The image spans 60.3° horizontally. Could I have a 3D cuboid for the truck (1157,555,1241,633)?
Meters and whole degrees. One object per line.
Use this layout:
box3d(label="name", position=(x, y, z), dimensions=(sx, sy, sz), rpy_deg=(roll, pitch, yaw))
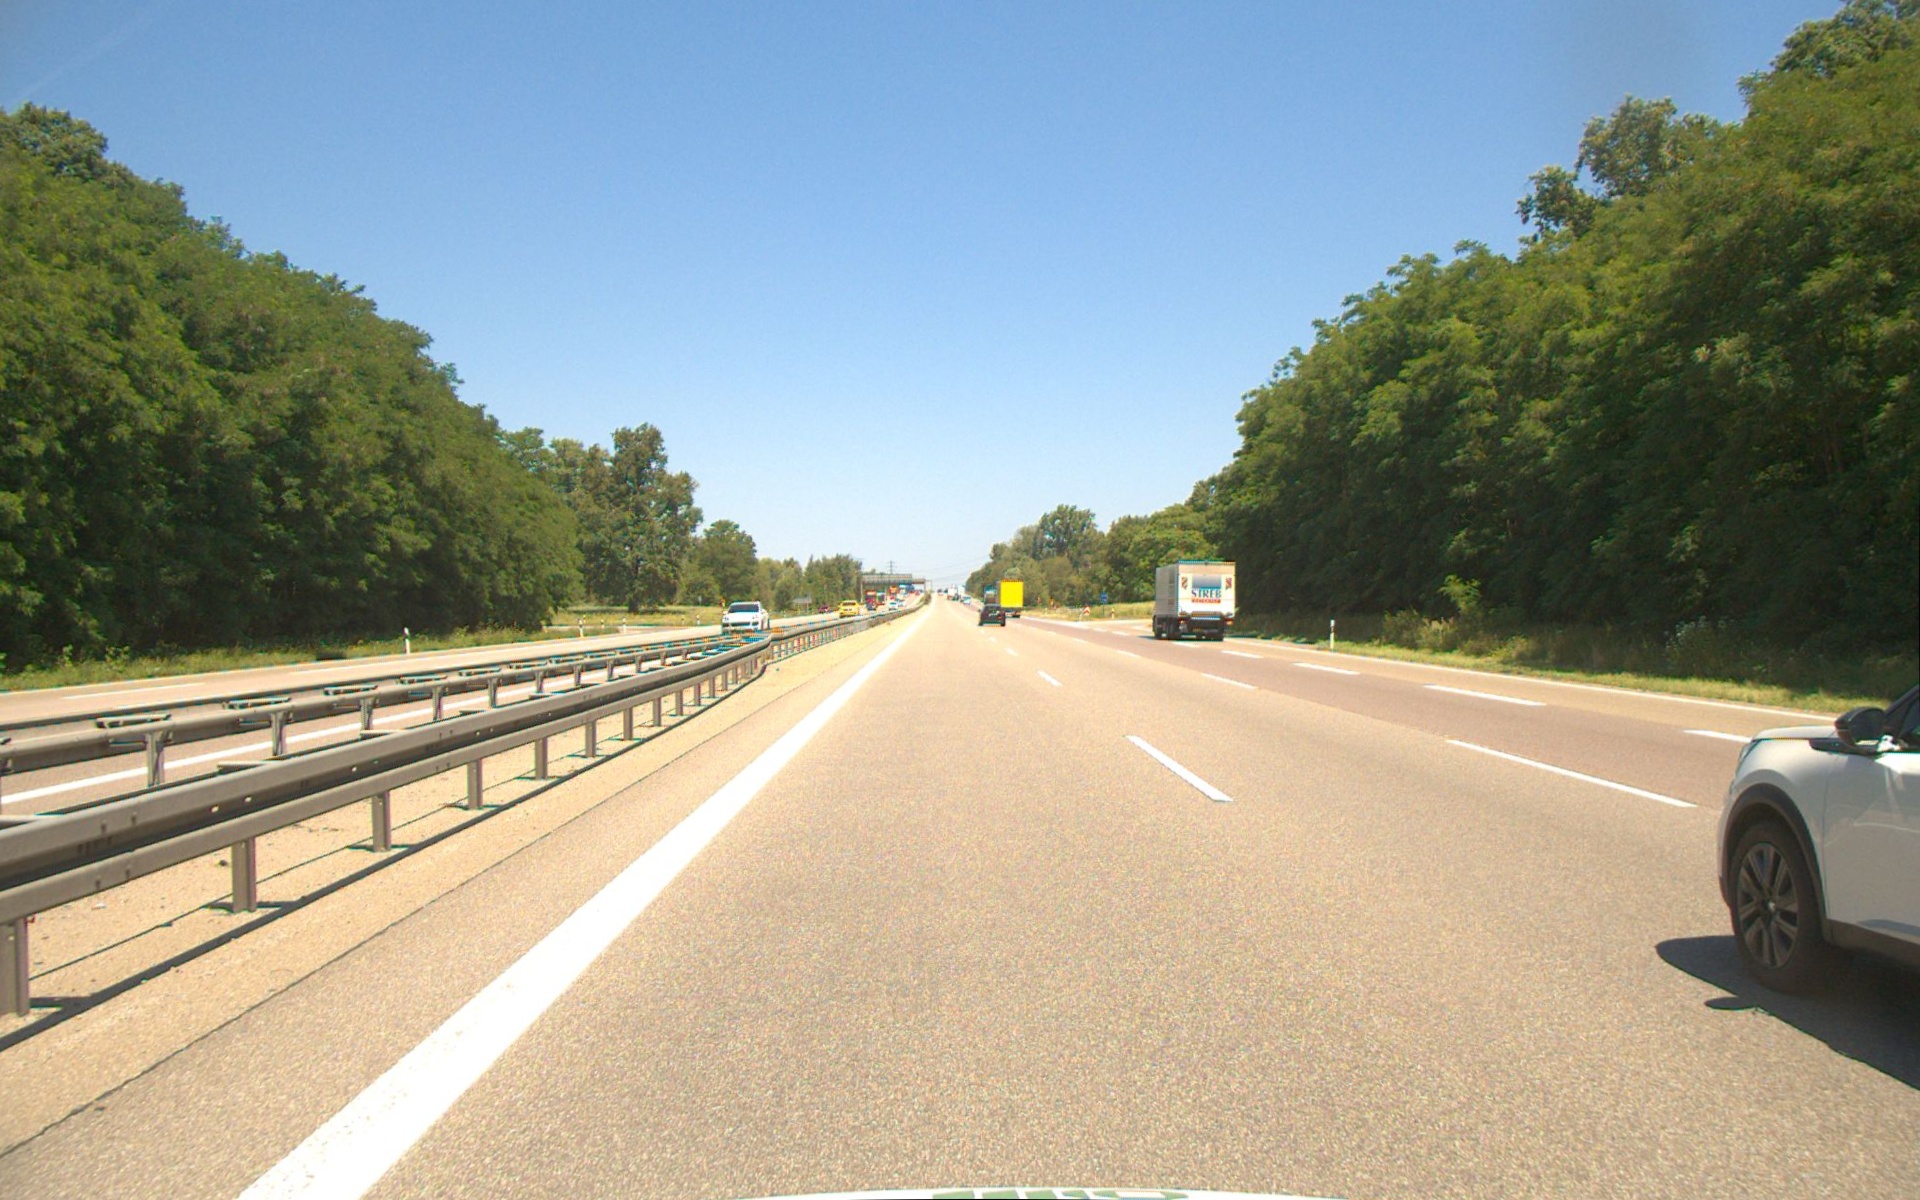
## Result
box3d(label="truck", position=(11.004, -0.238, 77.232), dimensions=(2.965, 3.377, 10.775), rpy_deg=(1, 0, 4))

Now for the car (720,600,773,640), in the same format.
box3d(label="car", position=(-10.336, 0.939, 80.495), dimensions=(1.953, 1.736, 5.264), rpy_deg=(1, 1, -1))

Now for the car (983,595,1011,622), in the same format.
box3d(label="car", position=(2.512, 0.575, 113.298), dimensions=(1.790, 1.736, 3.999), rpy_deg=(1, 0, -1))

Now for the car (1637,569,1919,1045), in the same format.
box3d(label="car", position=(4.200, 0.714, 5.595), dimensions=(1.790, 1.636, 4.807), rpy_deg=(0, 0, -1))

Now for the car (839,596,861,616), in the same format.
box3d(label="car", position=(-11.328, 0.581, 169.966), dimensions=(1.953, 1.998, 5.210), rpy_deg=(1, 0, -1))

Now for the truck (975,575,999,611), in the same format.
box3d(label="truck", position=(3.854, -0.932, 240.201), dimensions=(3.298, 4.966, 15.085), rpy_deg=(1, 0, 0))

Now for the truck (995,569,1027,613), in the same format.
box3d(label="truck", position=(5.923, -0.998, 194.969), dimensions=(3.308, 4.966, 15.085), rpy_deg=(1, 0, 0))
